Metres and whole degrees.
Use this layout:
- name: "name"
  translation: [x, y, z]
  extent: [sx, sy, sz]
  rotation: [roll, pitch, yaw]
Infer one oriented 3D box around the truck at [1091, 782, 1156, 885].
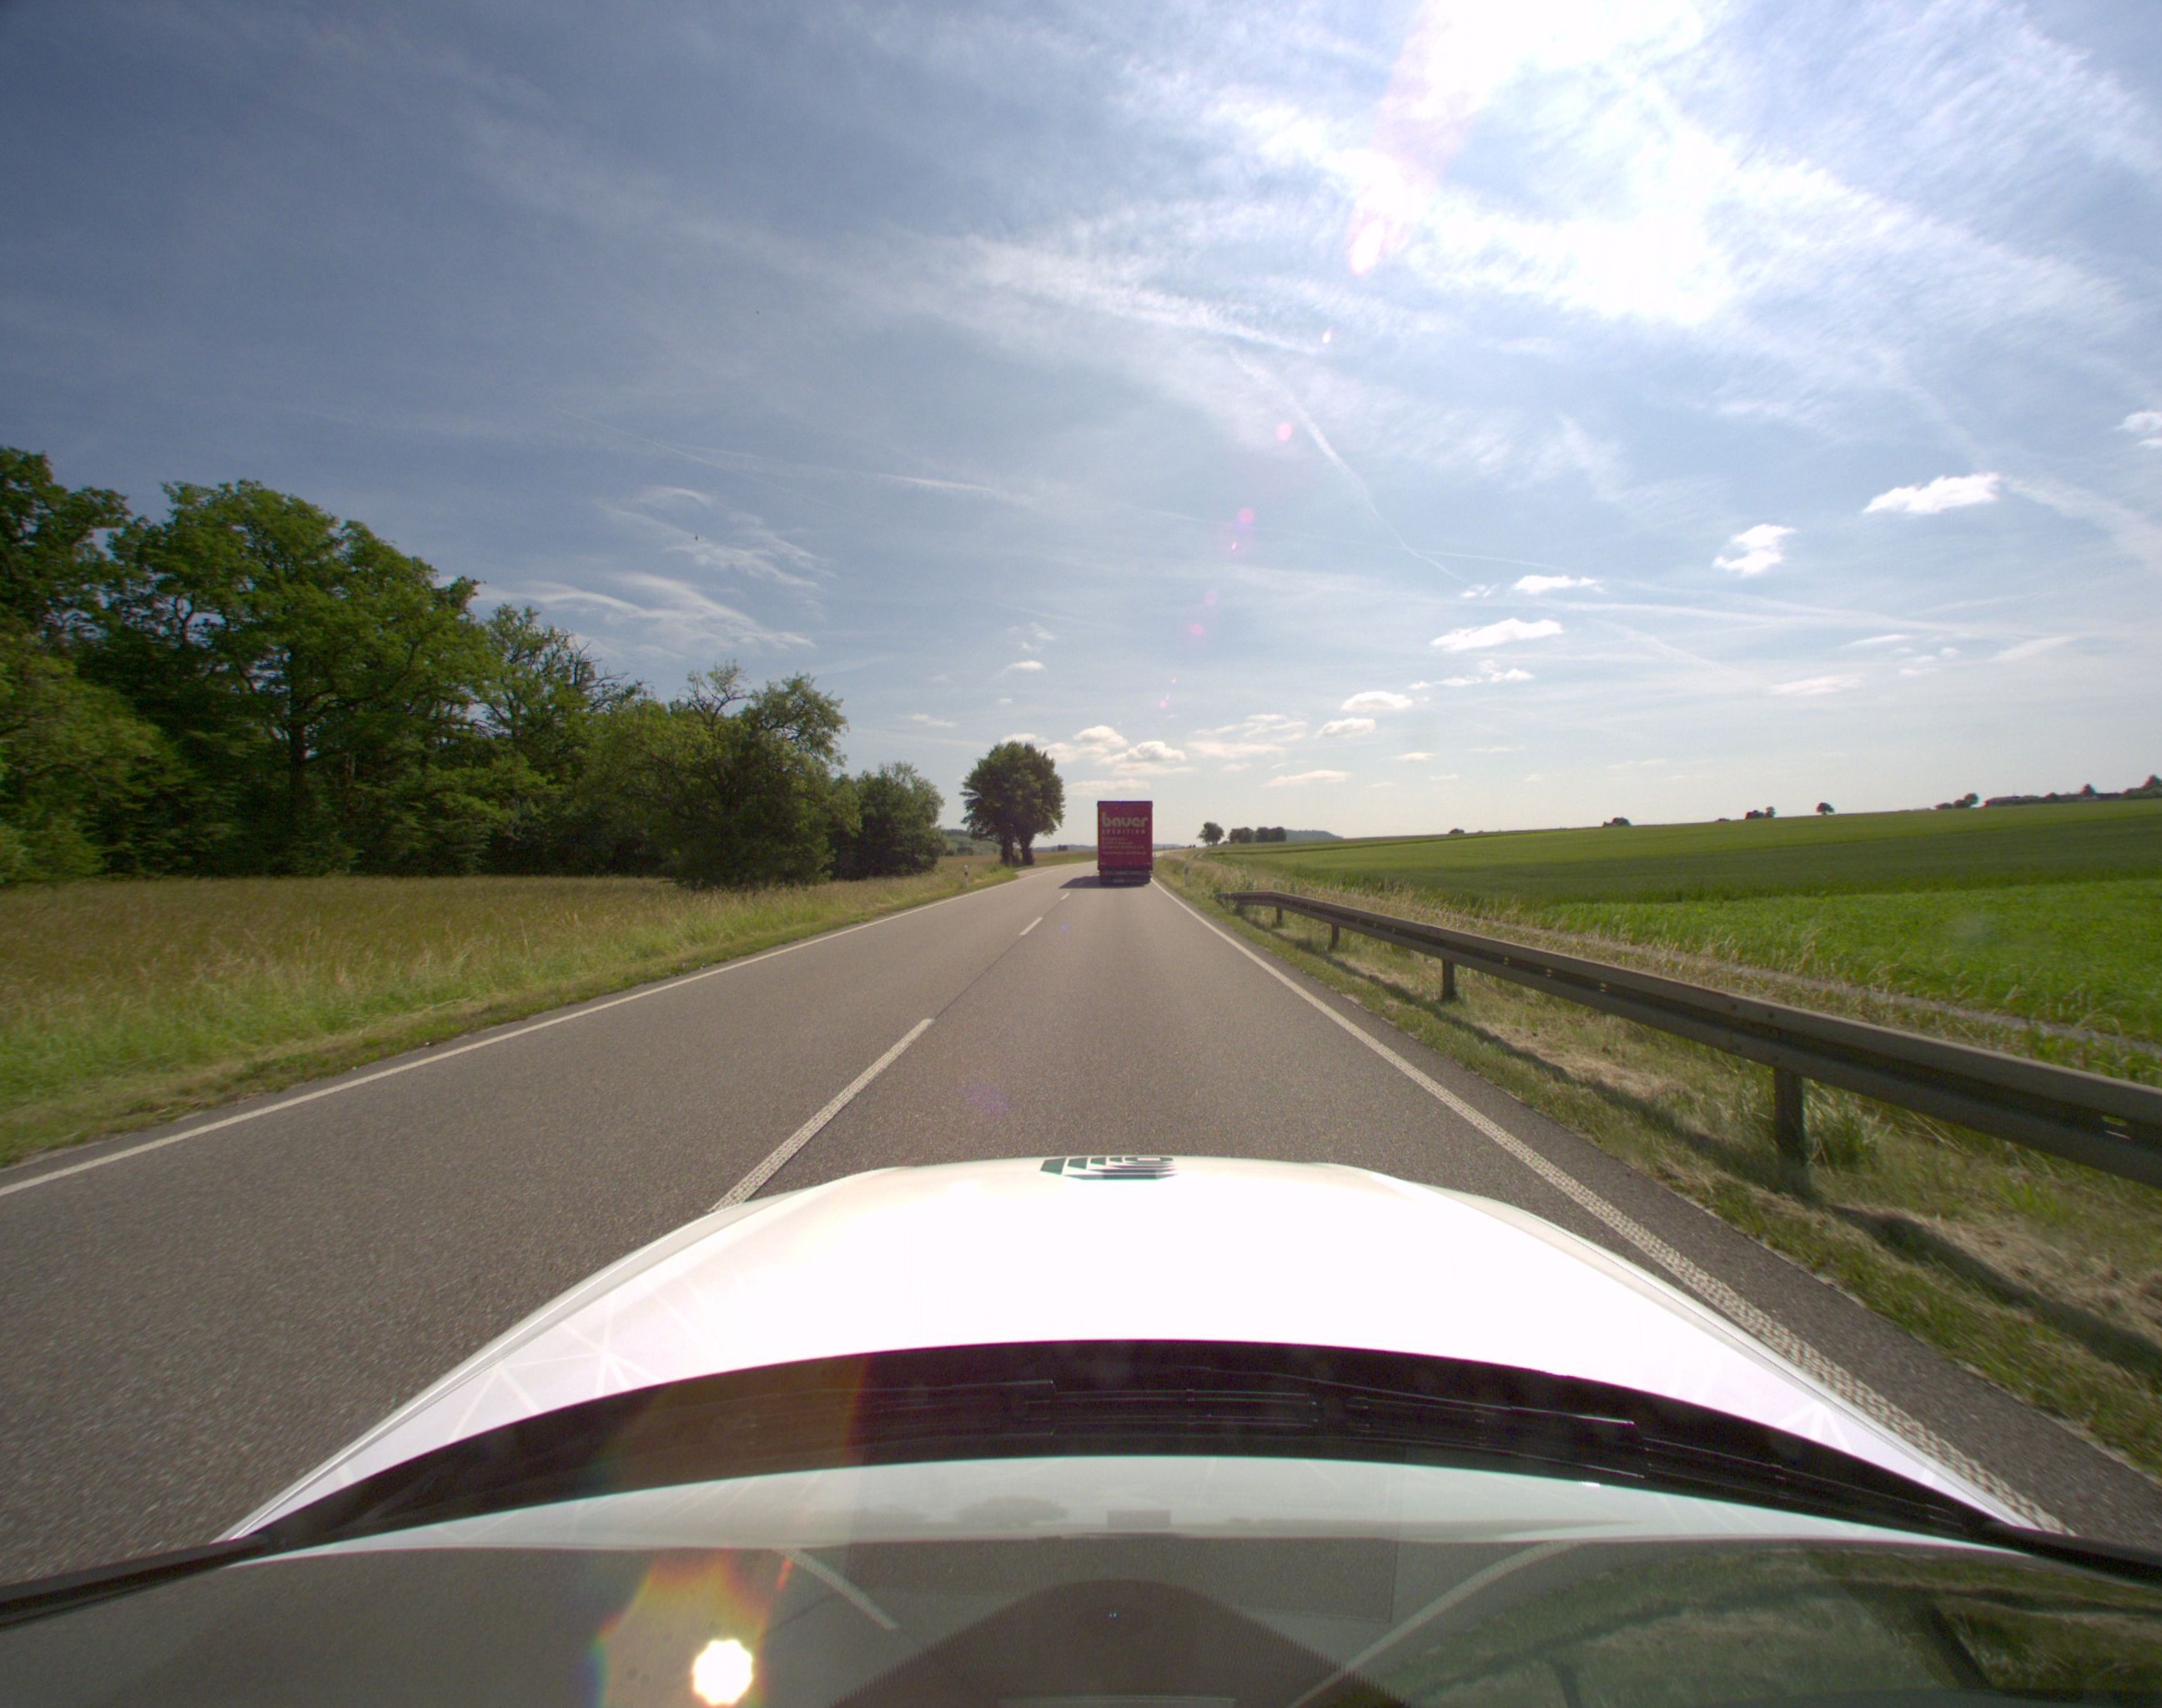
- name: "truck"
  translation: [2.017, -0.895, 41.745]
  extent: [2.965, 4.713, 9.367]
  rotation: [0, -1, 1]
